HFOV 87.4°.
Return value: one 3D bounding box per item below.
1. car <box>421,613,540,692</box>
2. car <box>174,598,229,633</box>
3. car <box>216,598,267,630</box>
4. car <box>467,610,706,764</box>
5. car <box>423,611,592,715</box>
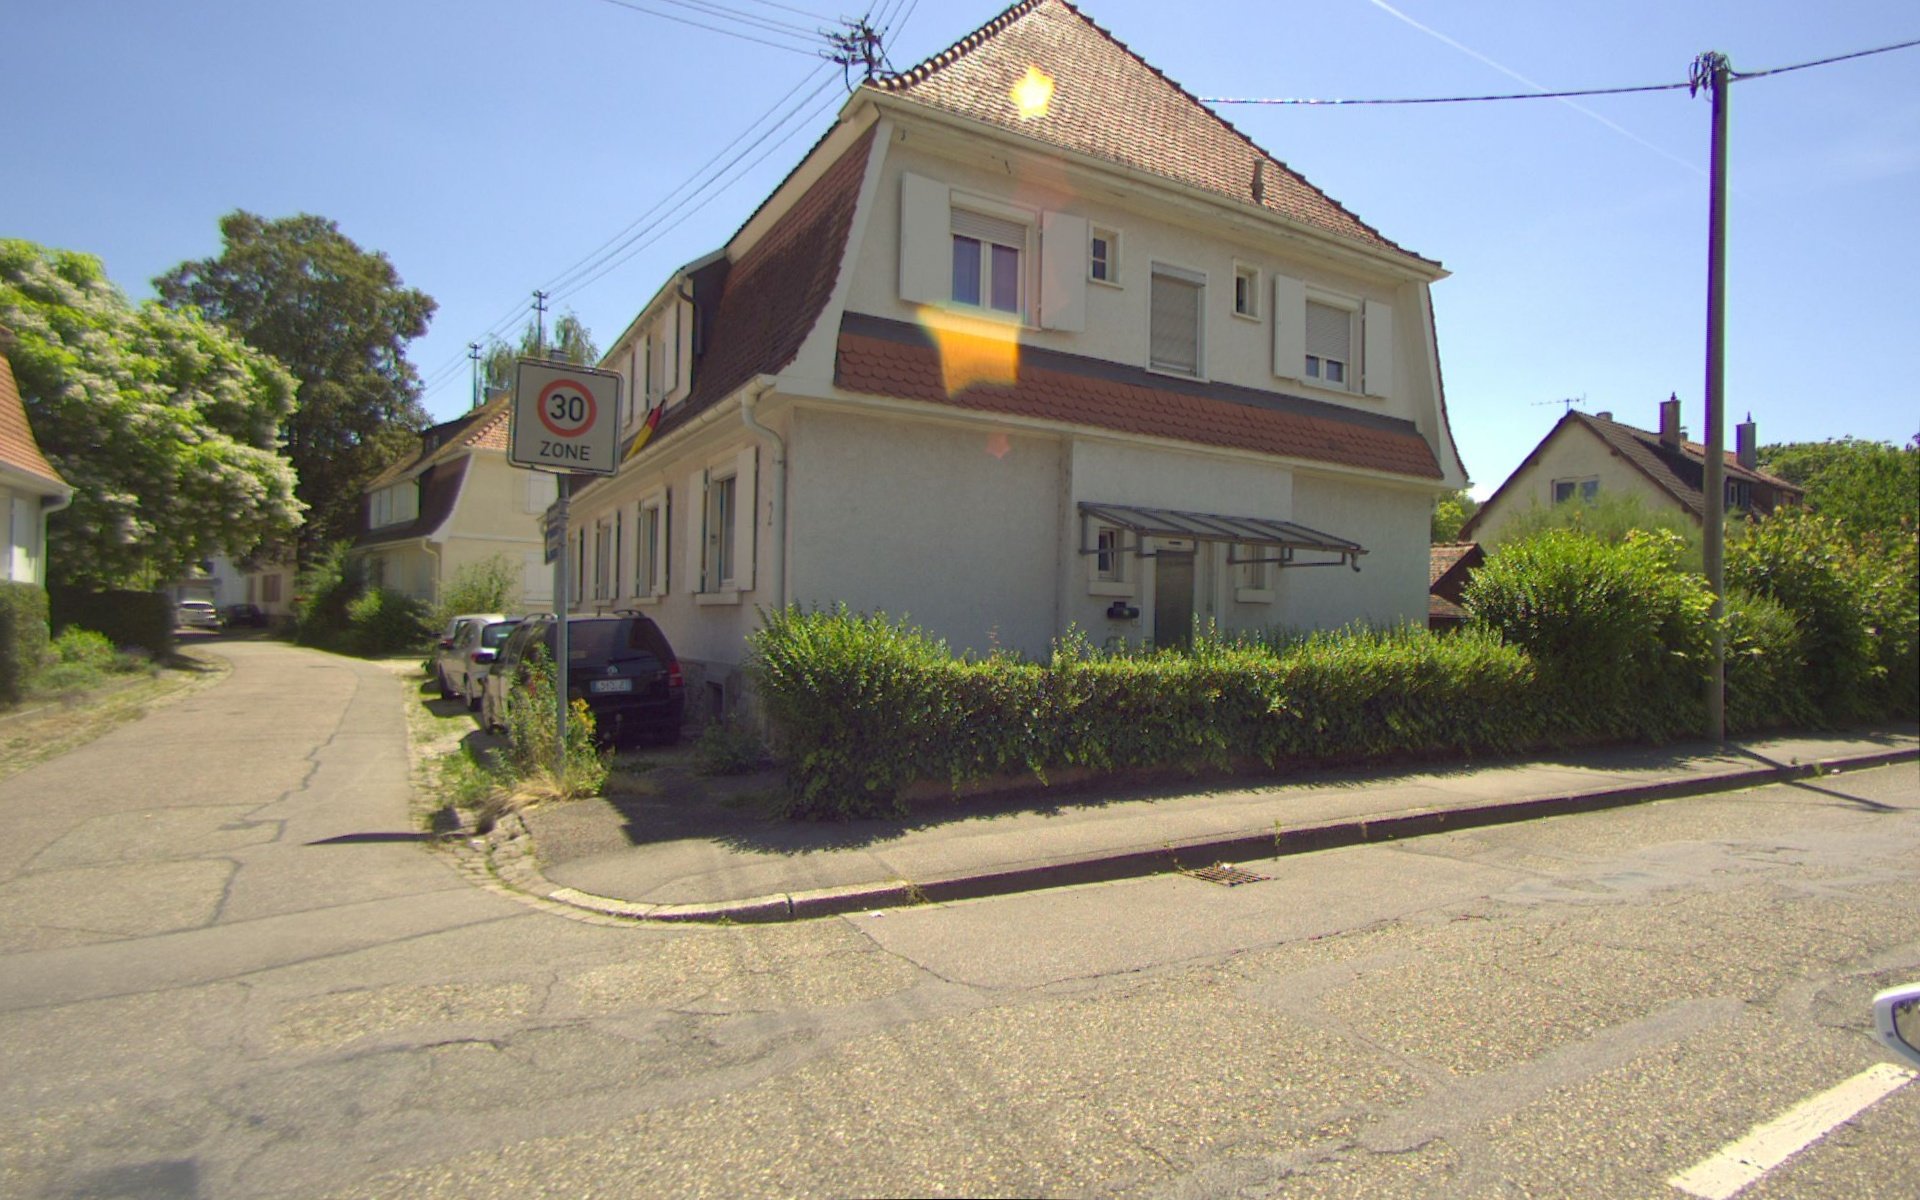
[{"bbox_3d":[-9.917,1.000,20.630,1.756,1.443,3.769,1,-1,-33],"label":"car"},{"bbox_3d":[-40.280,0.813,53.280,1.985,1.706,3.950,1,1,-42],"label":"car"},{"bbox_3d":[-42.349,0.789,59.183,1.985,1.706,3.950,1,1,-42],"label":"car"},{"bbox_3d":[-4.394,0.852,11.469,1.756,1.443,3.768,0,-1,-34],"label":"car"},{"bbox_3d":[-7.576,0.943,16.639,1.758,1.460,3.762,1,0,-37],"label":"car"}]
